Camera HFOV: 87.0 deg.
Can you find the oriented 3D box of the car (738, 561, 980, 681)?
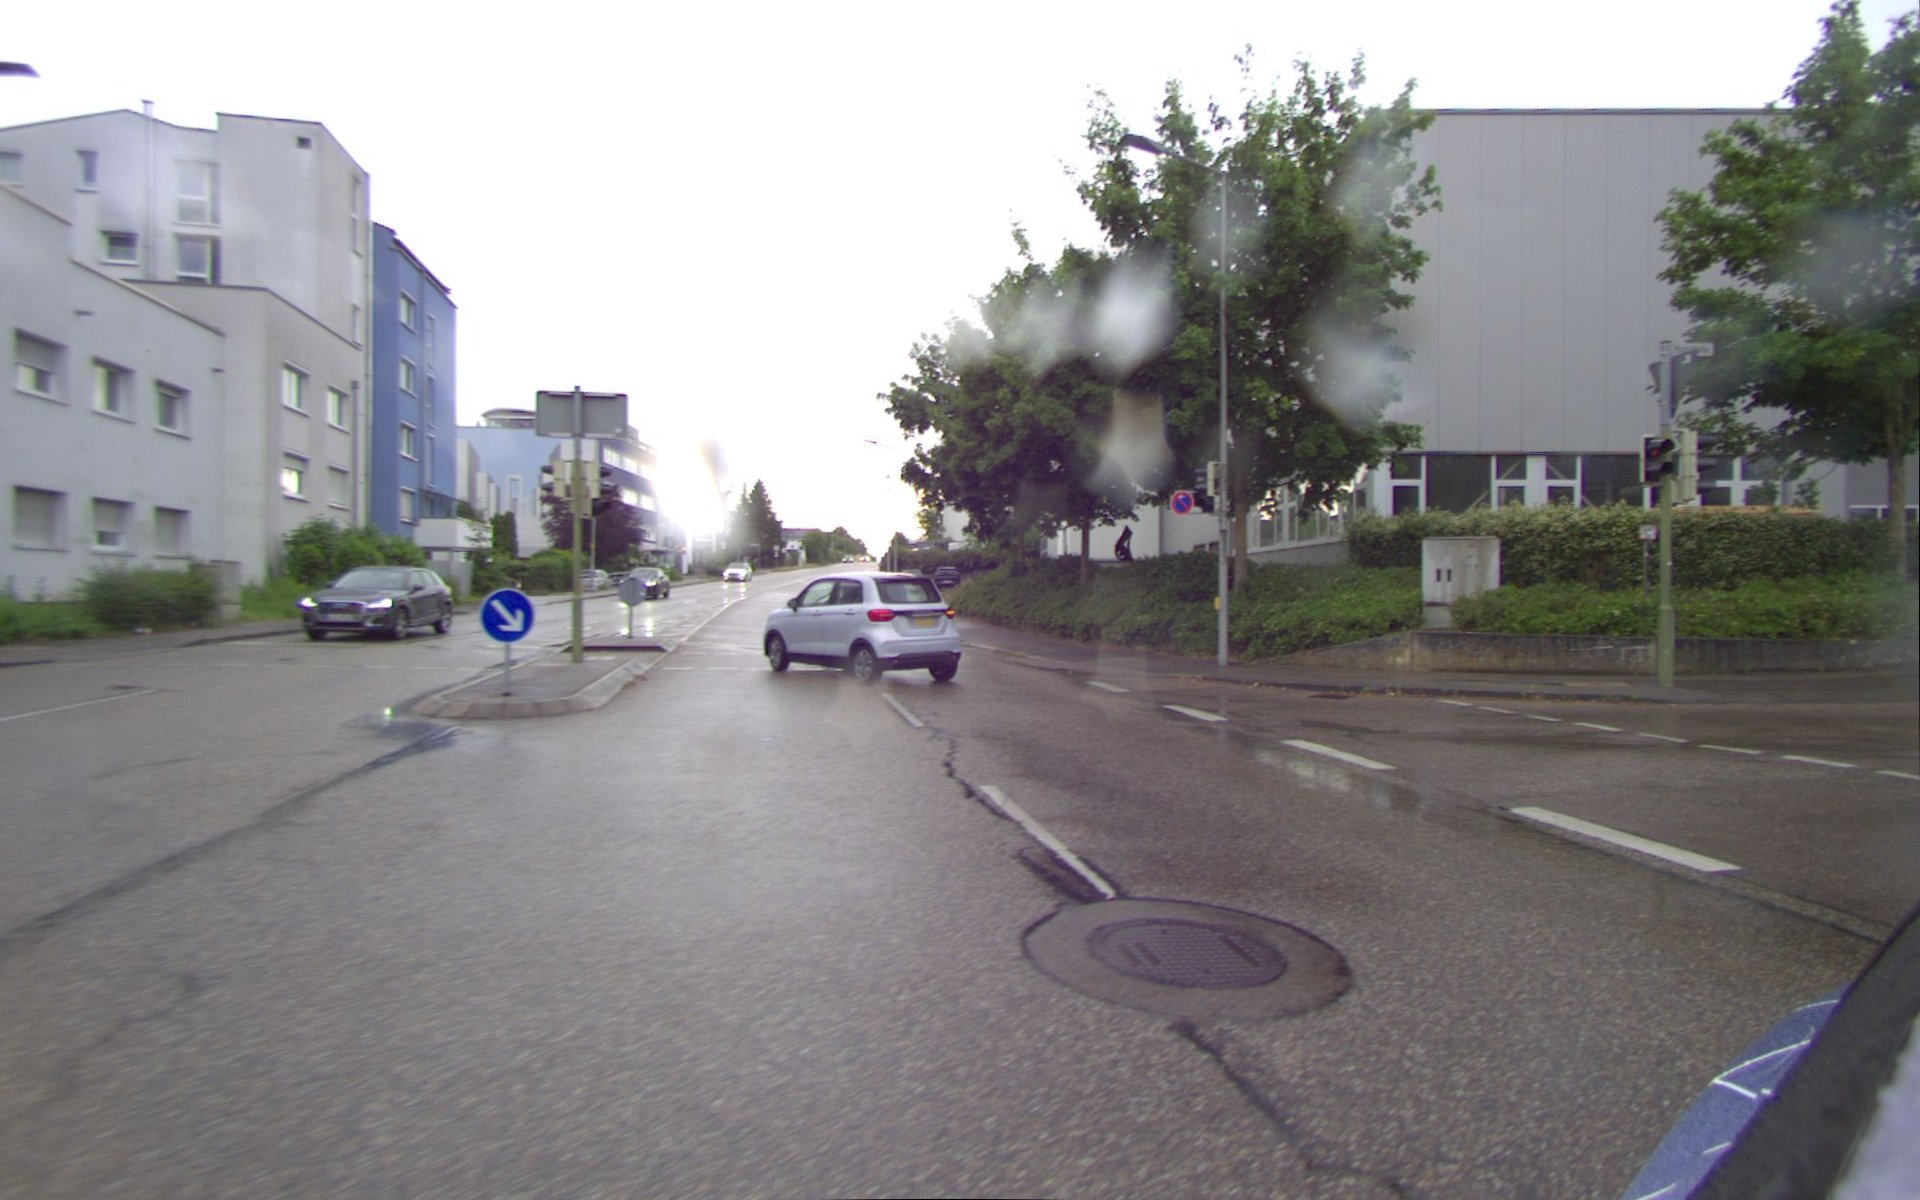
[{"bbox_3d":[-1.646,0.234,15.515,1.666,1.573,3.899,-4,3,-42],"label":"car"}]

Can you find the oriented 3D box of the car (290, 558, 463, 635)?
[{"bbox_3d":[-12.421,-0.146,21.864,1.707,1.504,4.155,0,2,-6],"label":"car"}]

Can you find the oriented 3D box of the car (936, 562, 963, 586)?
[{"bbox_3d":[-0.681,-1.743,66.963,1.705,1.497,4.021,-1,2,0],"label":"car"}]

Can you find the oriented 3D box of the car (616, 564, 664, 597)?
[{"bbox_3d":[-15.626,-0.972,49.566,1.718,1.497,4.008,-1,2,-10],"label":"car"}]

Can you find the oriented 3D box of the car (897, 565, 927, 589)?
[{"bbox_3d":[-3.141,-1.528,66.623,1.705,1.497,4.021,-1,2,0],"label":"car"}]

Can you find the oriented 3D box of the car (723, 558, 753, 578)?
[{"bbox_3d":[-18.359,-2.687,83.804,1.862,1.563,4.026,-2,2,-5],"label":"car"}]

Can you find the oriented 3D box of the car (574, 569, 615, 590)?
[{"bbox_3d":[-24.378,-1.397,67.607,1.626,1.303,3.886,-1,2,-5],"label":"car"}]
